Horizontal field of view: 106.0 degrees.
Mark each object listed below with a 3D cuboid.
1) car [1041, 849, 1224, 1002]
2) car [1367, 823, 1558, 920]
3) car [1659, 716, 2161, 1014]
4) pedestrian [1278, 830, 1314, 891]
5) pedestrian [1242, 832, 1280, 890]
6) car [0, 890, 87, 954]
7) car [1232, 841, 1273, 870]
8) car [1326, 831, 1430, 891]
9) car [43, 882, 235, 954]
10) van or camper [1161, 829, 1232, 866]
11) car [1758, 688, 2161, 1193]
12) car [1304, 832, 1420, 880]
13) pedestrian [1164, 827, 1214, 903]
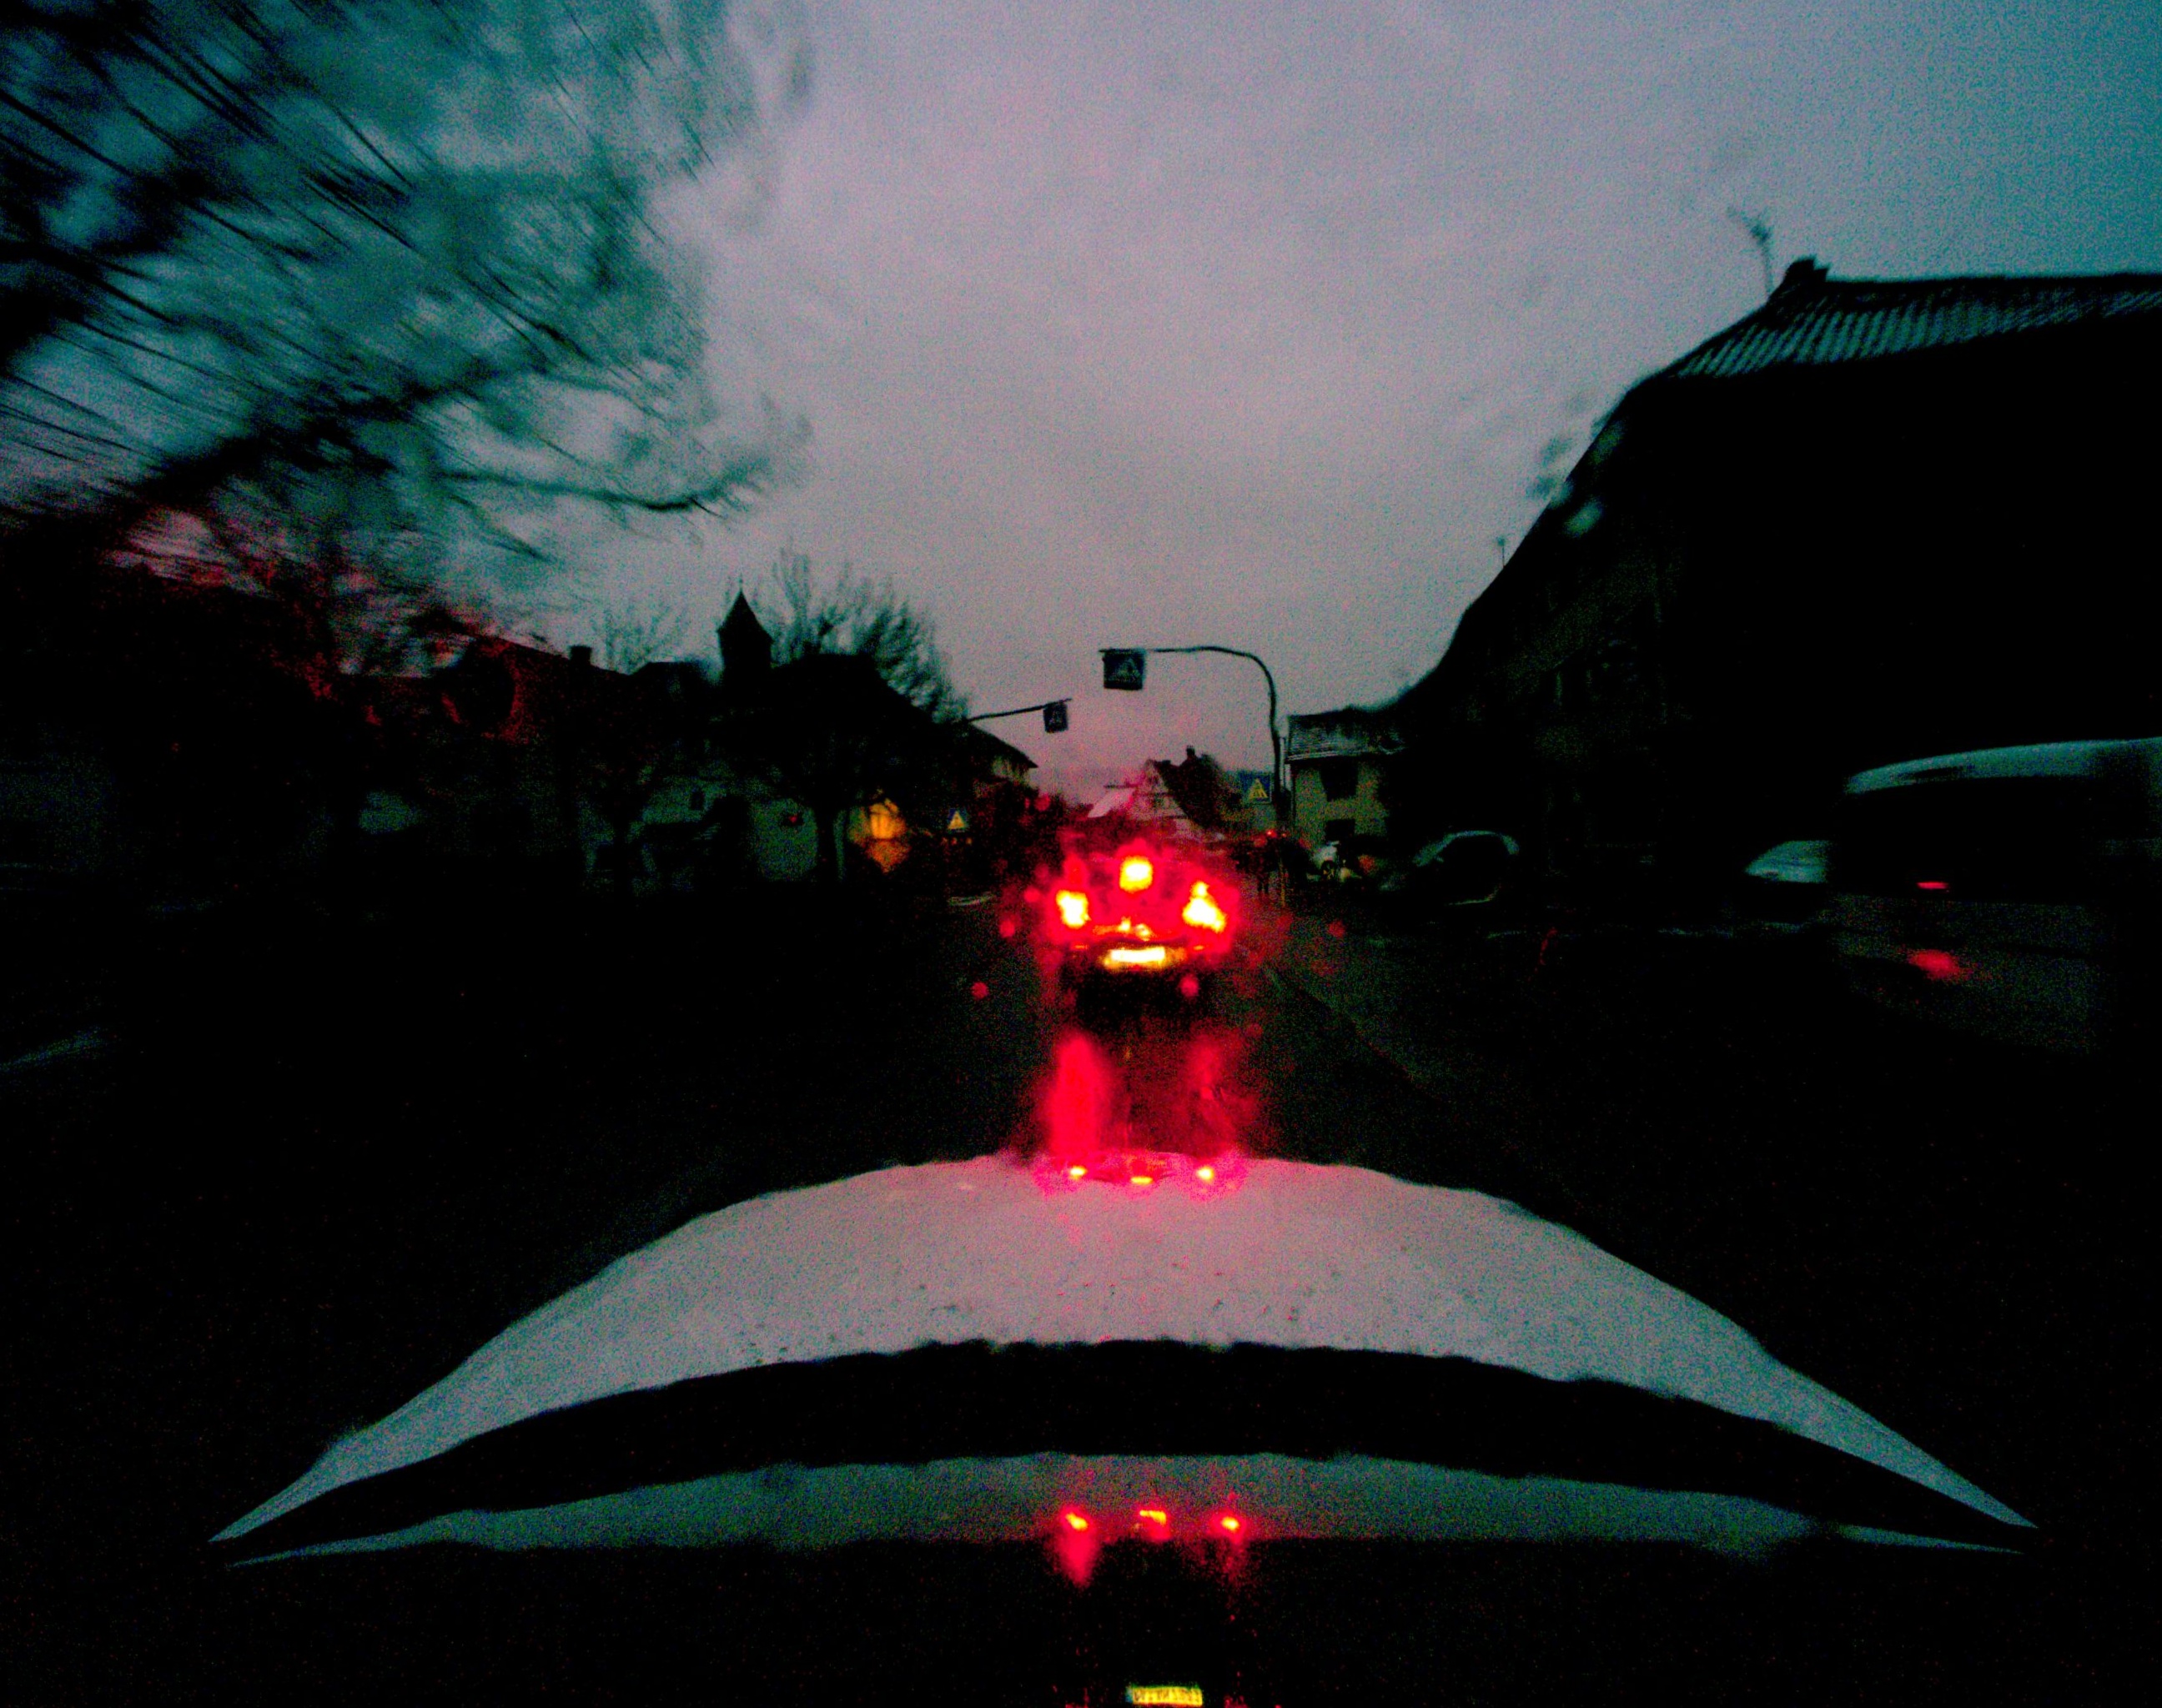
[{"bbox_3d":[0.489,0.691,10.058,1.790,1.476,3.999,-1,0,-1],"label":"car"},{"bbox_3d":[6.648,0.309,14.450,2.745,1.474,1.431,-4,0,12],"label":"car"},{"bbox_3d":[7.714,-0.011,6.215,4.948,1.889,1.943,-4,0,11],"label":"car"},{"bbox_3d":[6.482,0.198,24.521,0.841,1.733,0.976,-5,-1,19],"label":"pedestrian"},{"bbox_3d":[5.482,0.209,24.791,0.860,1.667,0.997,-5,-1,19],"label":"pedestrian"},{"bbox_3d":[-24.446,1.503,18.349,3.021,1.126,1.536,3,1,17],"label":"car"},{"bbox_3d":[10.490,0.070,49.654,1.832,1.637,4.357,-1,0,19],"label":"car"},{"bbox_3d":[8.599,0.181,23.720,2.566,1.547,1.556,-4,0,11],"label":"car"},{"bbox_3d":[-23.883,1.575,20.687,3.573,1.612,1.720,0,1,14],"label":"car"},{"bbox_3d":[10.953,-0.607,77.275,6.003,2.955,2.421,-5,-2,27],"label":"van or camper"},{"bbox_3d":[5.977,0.176,3.698,4.021,1.843,1.867,-4,-1,6],"label":"car"},{"bbox_3d":[10.364,0.072,30.298,3.871,1.474,1.758,-4,0,14],"label":"car"},{"bbox_3d":[2.621,0.251,19.689,0.872,1.735,0.960,-5,-1,19],"label":"pedestrian"}]
